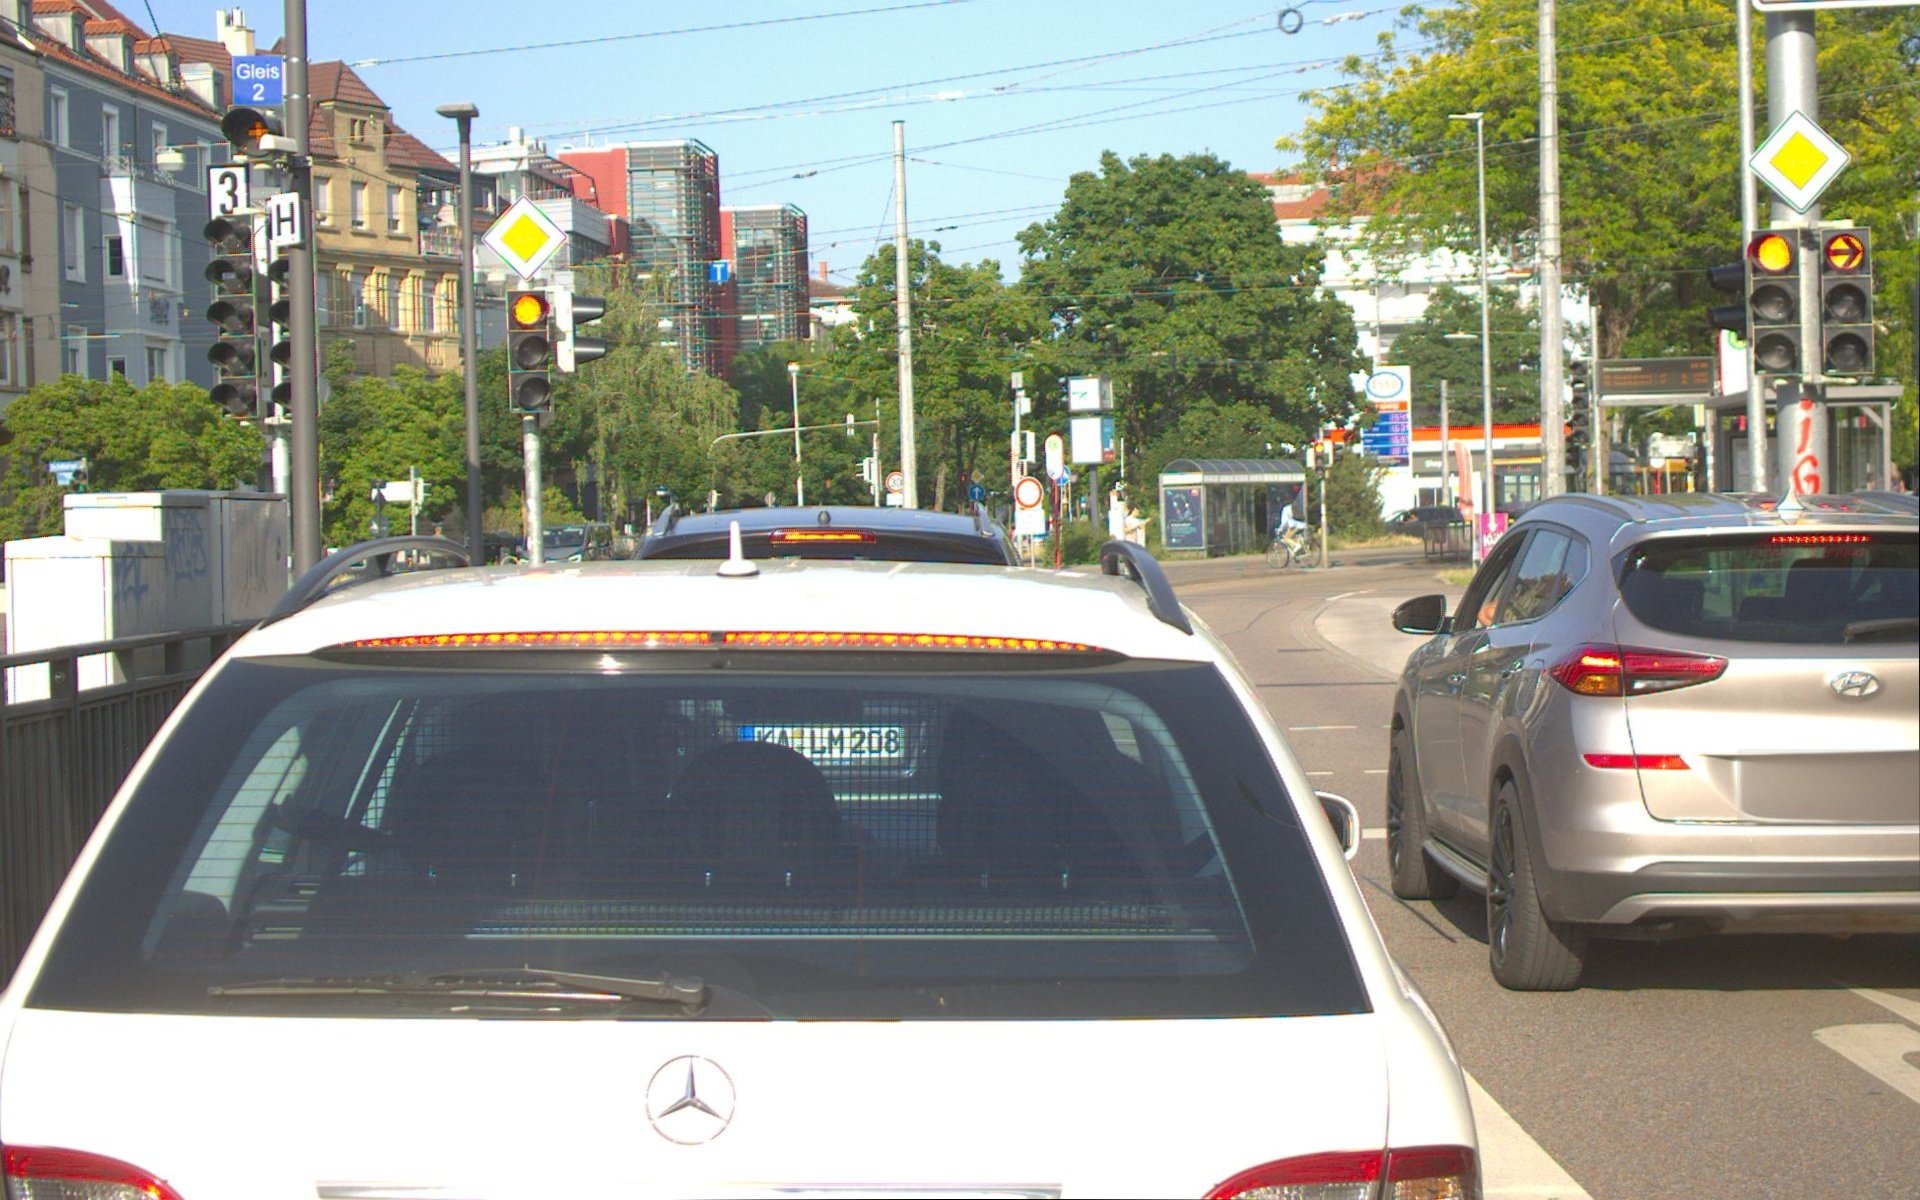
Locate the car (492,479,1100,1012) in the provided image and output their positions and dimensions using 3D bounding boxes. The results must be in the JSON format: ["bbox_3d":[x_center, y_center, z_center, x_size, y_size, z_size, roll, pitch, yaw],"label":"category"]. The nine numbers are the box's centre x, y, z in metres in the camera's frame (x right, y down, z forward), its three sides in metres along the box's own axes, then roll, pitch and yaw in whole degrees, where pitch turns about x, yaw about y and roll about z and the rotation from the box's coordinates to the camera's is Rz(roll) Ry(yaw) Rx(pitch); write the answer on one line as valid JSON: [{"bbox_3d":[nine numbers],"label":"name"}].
[{"bbox_3d":[-0.530,0.419,12.594,1.885,1.645,3.648,1,1,0],"label":"car"}]

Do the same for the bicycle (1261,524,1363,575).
[{"bbox_3d":[8.780,-1.261,85.799,2.483,1.209,0.806,-1,1,8],"label":"bicycle"}]

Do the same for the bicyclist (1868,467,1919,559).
[{"bbox_3d":[12.960,-1.203,47.532,0.534,1.258,0.869,-2,1,0],"label":"bicyclist"}]

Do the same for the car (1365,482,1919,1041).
[{"bbox_3d":[2.628,0.438,12.169,1.885,1.645,3.648,-2,1,0],"label":"car"}]

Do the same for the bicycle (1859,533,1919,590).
[{"bbox_3d":[12.996,-0.543,47.566,0.495,0.754,2.169,-3,1,0],"label":"bicycle"}]

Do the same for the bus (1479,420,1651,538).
[{"bbox_3d":[20.419,-3.969,115.287,3.112,3.593,12.360,1,1,22],"label":"bus"}]

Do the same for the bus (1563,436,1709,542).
[{"bbox_3d":[25.067,-4.005,126.924,3.112,3.593,12.577,1,1,21],"label":"bus"}]

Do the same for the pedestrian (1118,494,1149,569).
[{"bbox_3d":[4.315,-1.696,85.392,0.642,1.850,0.551,-1,1,11],"label":"pedestrian"}]

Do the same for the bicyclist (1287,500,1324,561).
[{"bbox_3d":[8.623,-1.738,85.817,0.861,1.476,0.789,-1,1,9],"label":"bicyclist"}]

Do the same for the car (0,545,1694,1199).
[{"bbox_3d":[-0.253,0.662,4.993,1.796,1.465,3.648,0,1,-1],"label":"car"}]
